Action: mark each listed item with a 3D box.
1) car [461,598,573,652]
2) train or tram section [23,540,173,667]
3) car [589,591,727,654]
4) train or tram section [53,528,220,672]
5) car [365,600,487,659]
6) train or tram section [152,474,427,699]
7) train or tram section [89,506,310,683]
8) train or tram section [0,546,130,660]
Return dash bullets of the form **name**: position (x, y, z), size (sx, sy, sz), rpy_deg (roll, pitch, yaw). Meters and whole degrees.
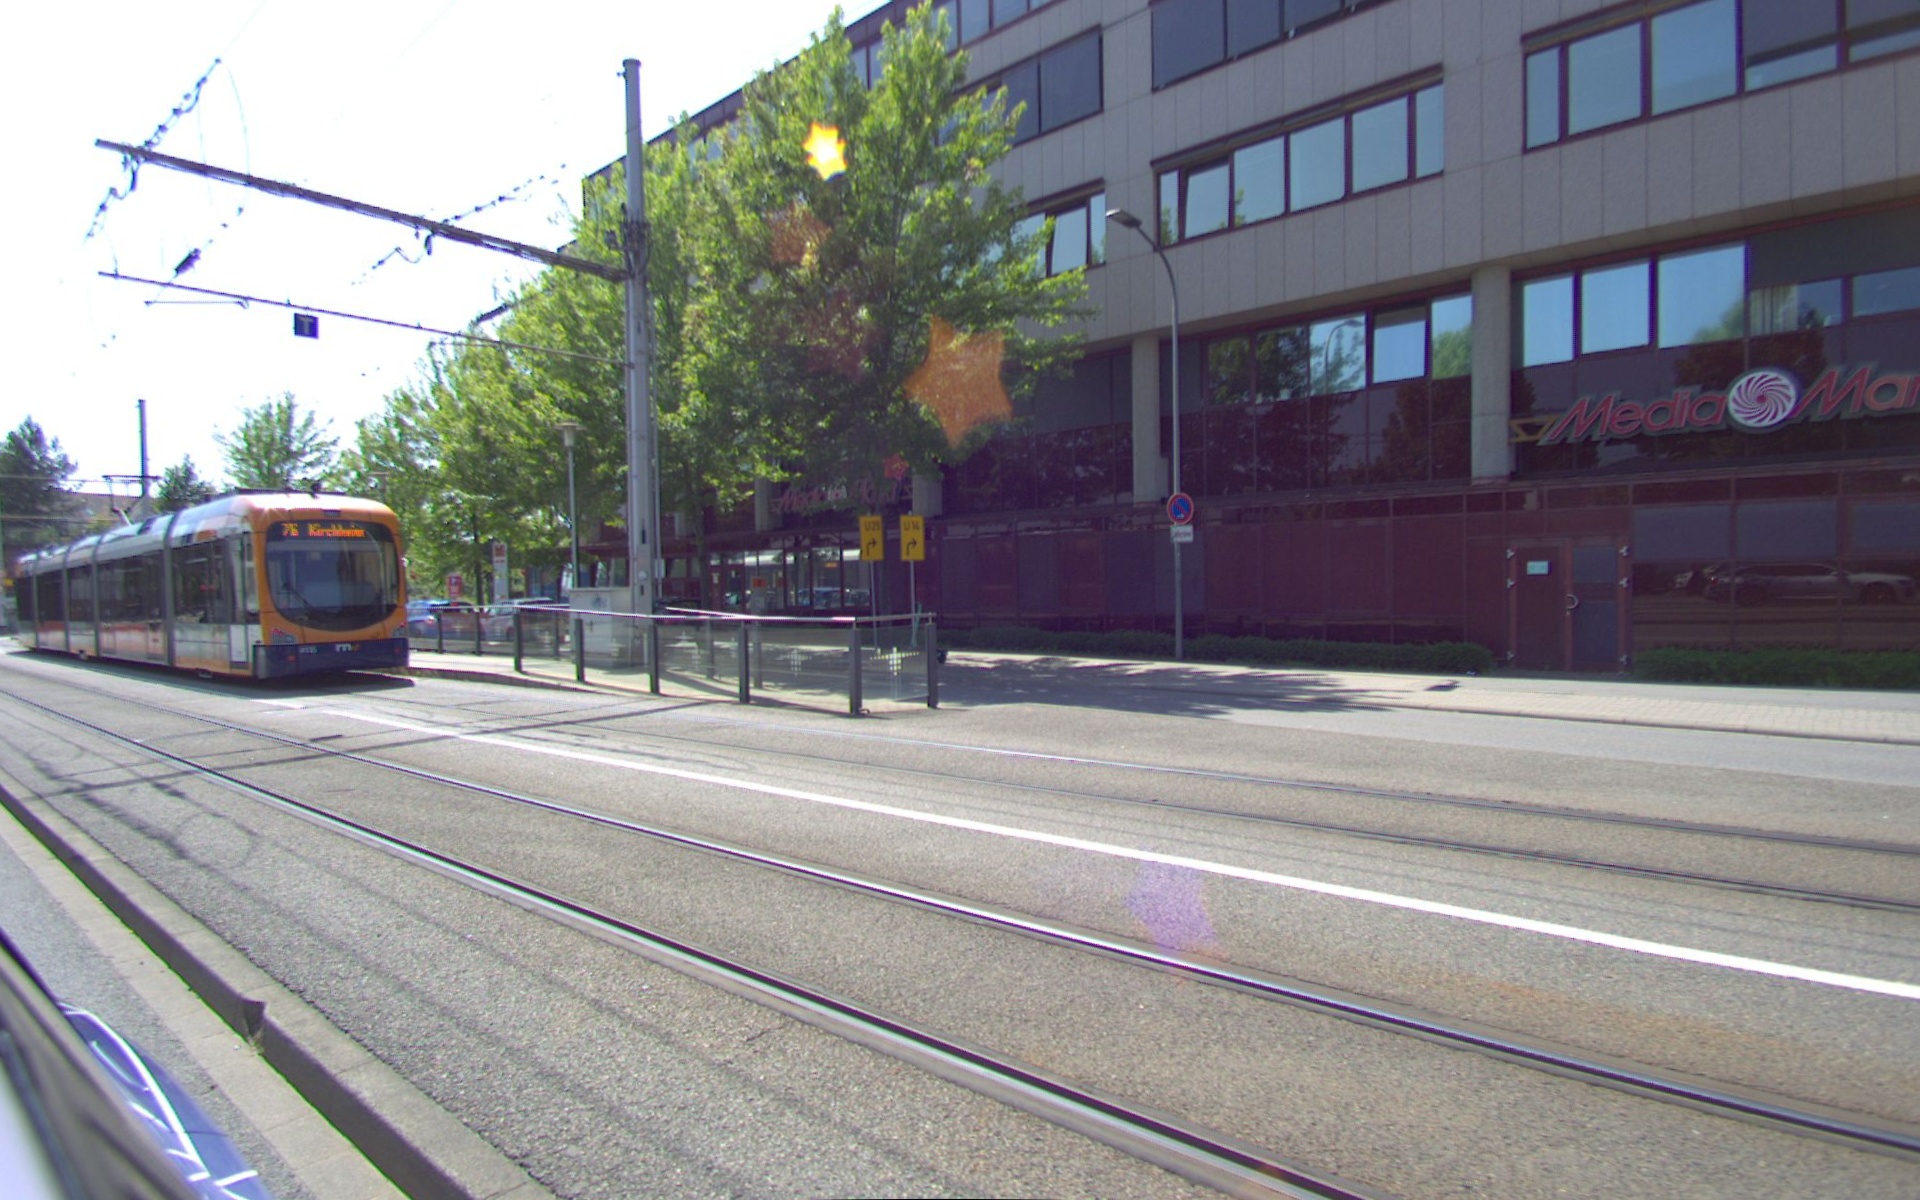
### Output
- **car**: position (-13.899, 0.764, 31.651), size (3.903, 1.474, 1.704), rpy_deg (-1, 2, 42)
- **train or tram section**: position (-26.235, 0.115, 30.723), size (5.840, 3.473, 2.584), rpy_deg (-1, 0, 41)
- **car**: position (-8.233, 0.590, 27.446), size (3.999, 1.530, 1.742), rpy_deg (-1, 1, 42)
- **train or tram section**: position (-22.135, 0.015, 27.130), size (5.007, 3.473, 2.584), rpy_deg (-1, 0, 41)
- **car**: position (-15.314, 0.831, 28.953), size (4.068, 1.596, 1.705), rpy_deg (-1, -2, 40)
- **train or tram section**: position (-12.499, -0.183, 18.644), size (6.359, 3.473, 2.554), rpy_deg (-1, 0, 41)
- **train or tram section**: position (-17.547, -0.073, 23.144), size (7.133, 3.473, 2.554), rpy_deg (-1, 0, 41)
- **train or tram section**: position (-30.616, 0.119, 34.534), size (5.739, 3.559, 2.584), rpy_deg (-1, 0, 41)
